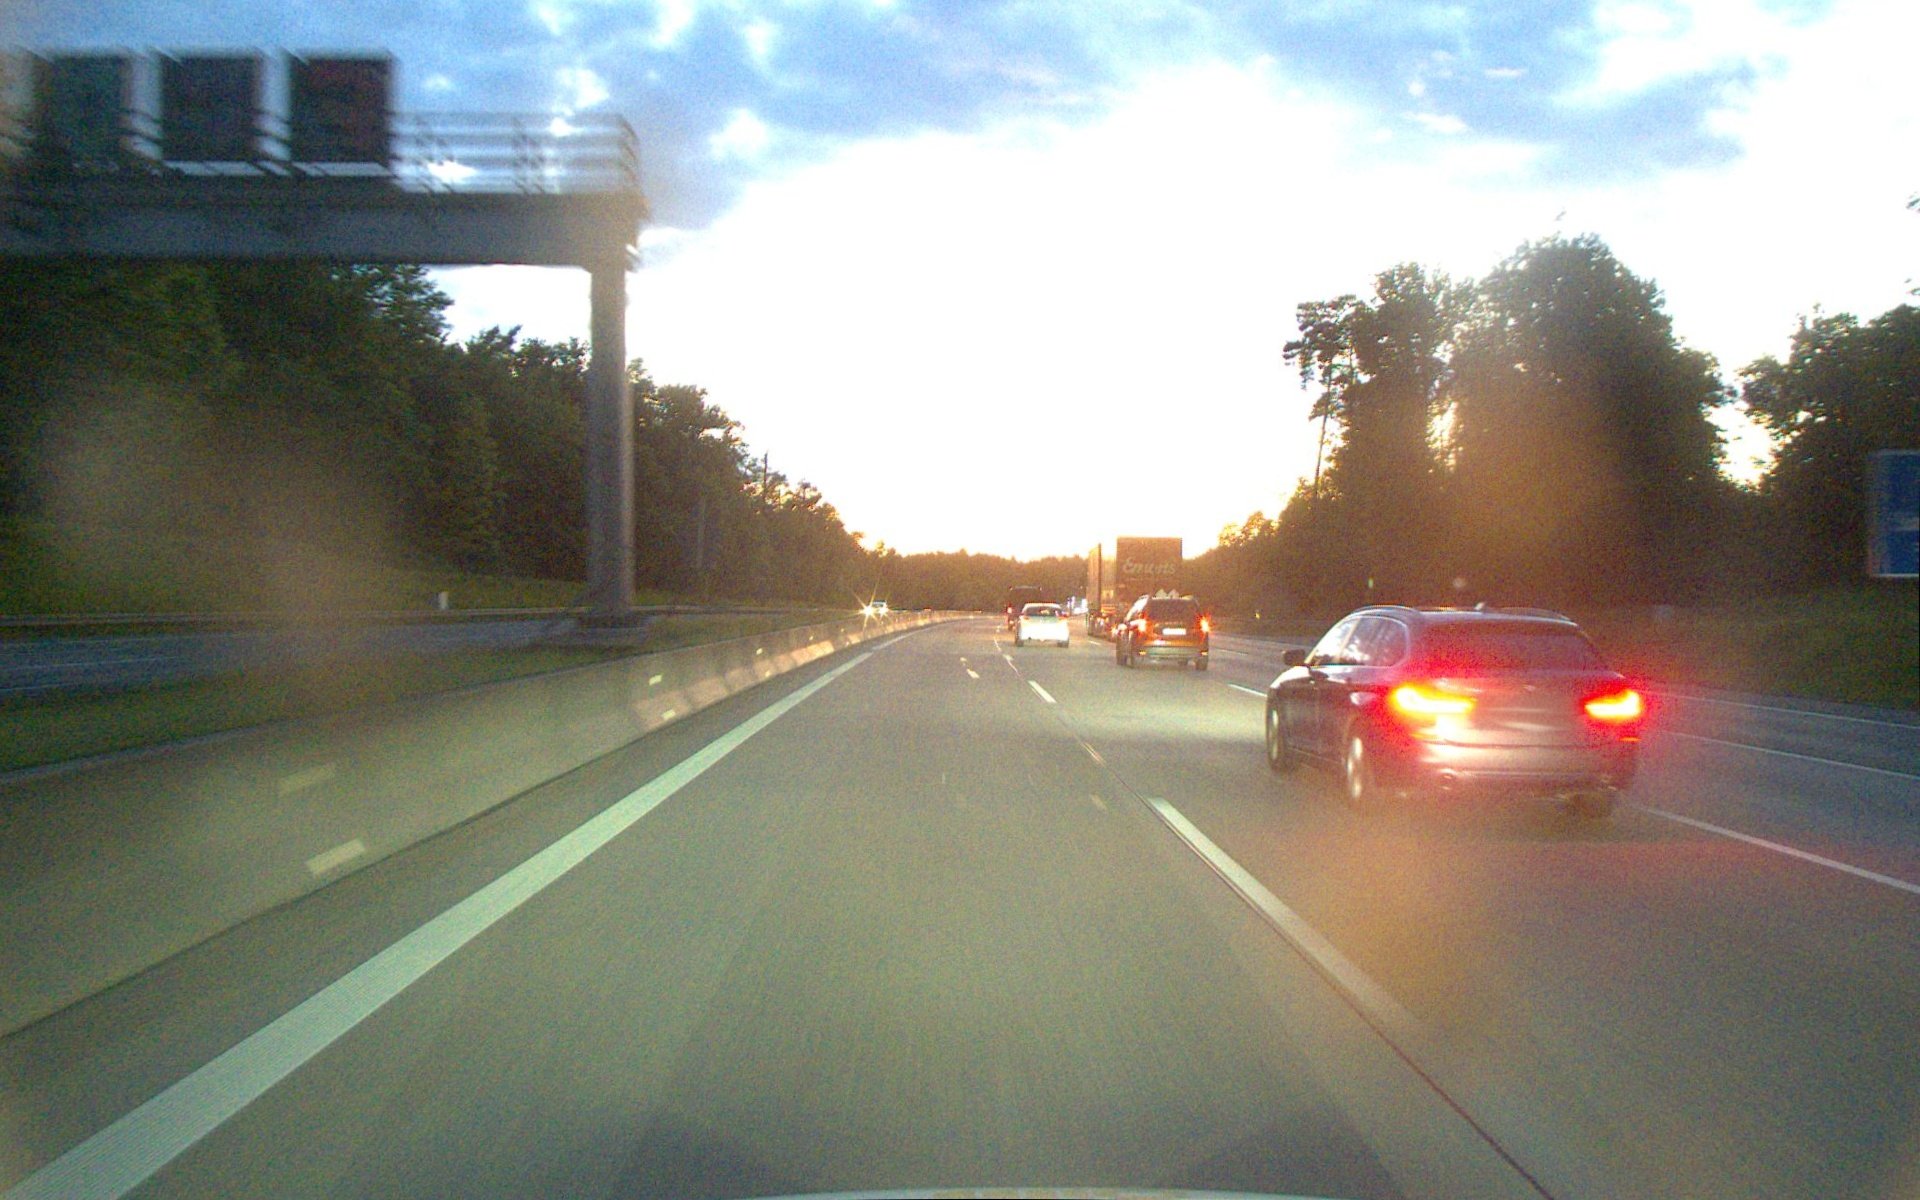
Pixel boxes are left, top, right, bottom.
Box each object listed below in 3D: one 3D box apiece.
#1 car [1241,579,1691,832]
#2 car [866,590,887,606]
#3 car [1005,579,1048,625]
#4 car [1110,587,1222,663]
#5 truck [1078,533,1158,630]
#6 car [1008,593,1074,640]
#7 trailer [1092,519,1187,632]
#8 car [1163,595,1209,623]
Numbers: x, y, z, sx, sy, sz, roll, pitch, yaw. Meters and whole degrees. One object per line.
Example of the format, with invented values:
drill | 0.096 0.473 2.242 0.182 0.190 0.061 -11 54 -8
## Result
car | 3.692 0.644 13.218 1.870 1.564 5.230 0 1 -1
car | -7.643 -0.165 152.029 1.585 1.430 4.316 0 0 1
car | 3.702 0.130 91.211 2.120 2.461 5.567 0 -1 5
car | 4.782 0.554 39.125 1.864 1.672 5.050 0 0 -2
truck | 7.265 -0.733 77.341 2.825 4.172 10.832 1 -1 1
car | 2.710 0.538 56.108 1.822 1.467 3.718 0 1 -4
trailer | 7.094 -0.849 66.797 2.847 4.172 10.358 1 -1 1
car | 11.970 0.480 87.794 1.821 1.467 4.111 0 0 0
